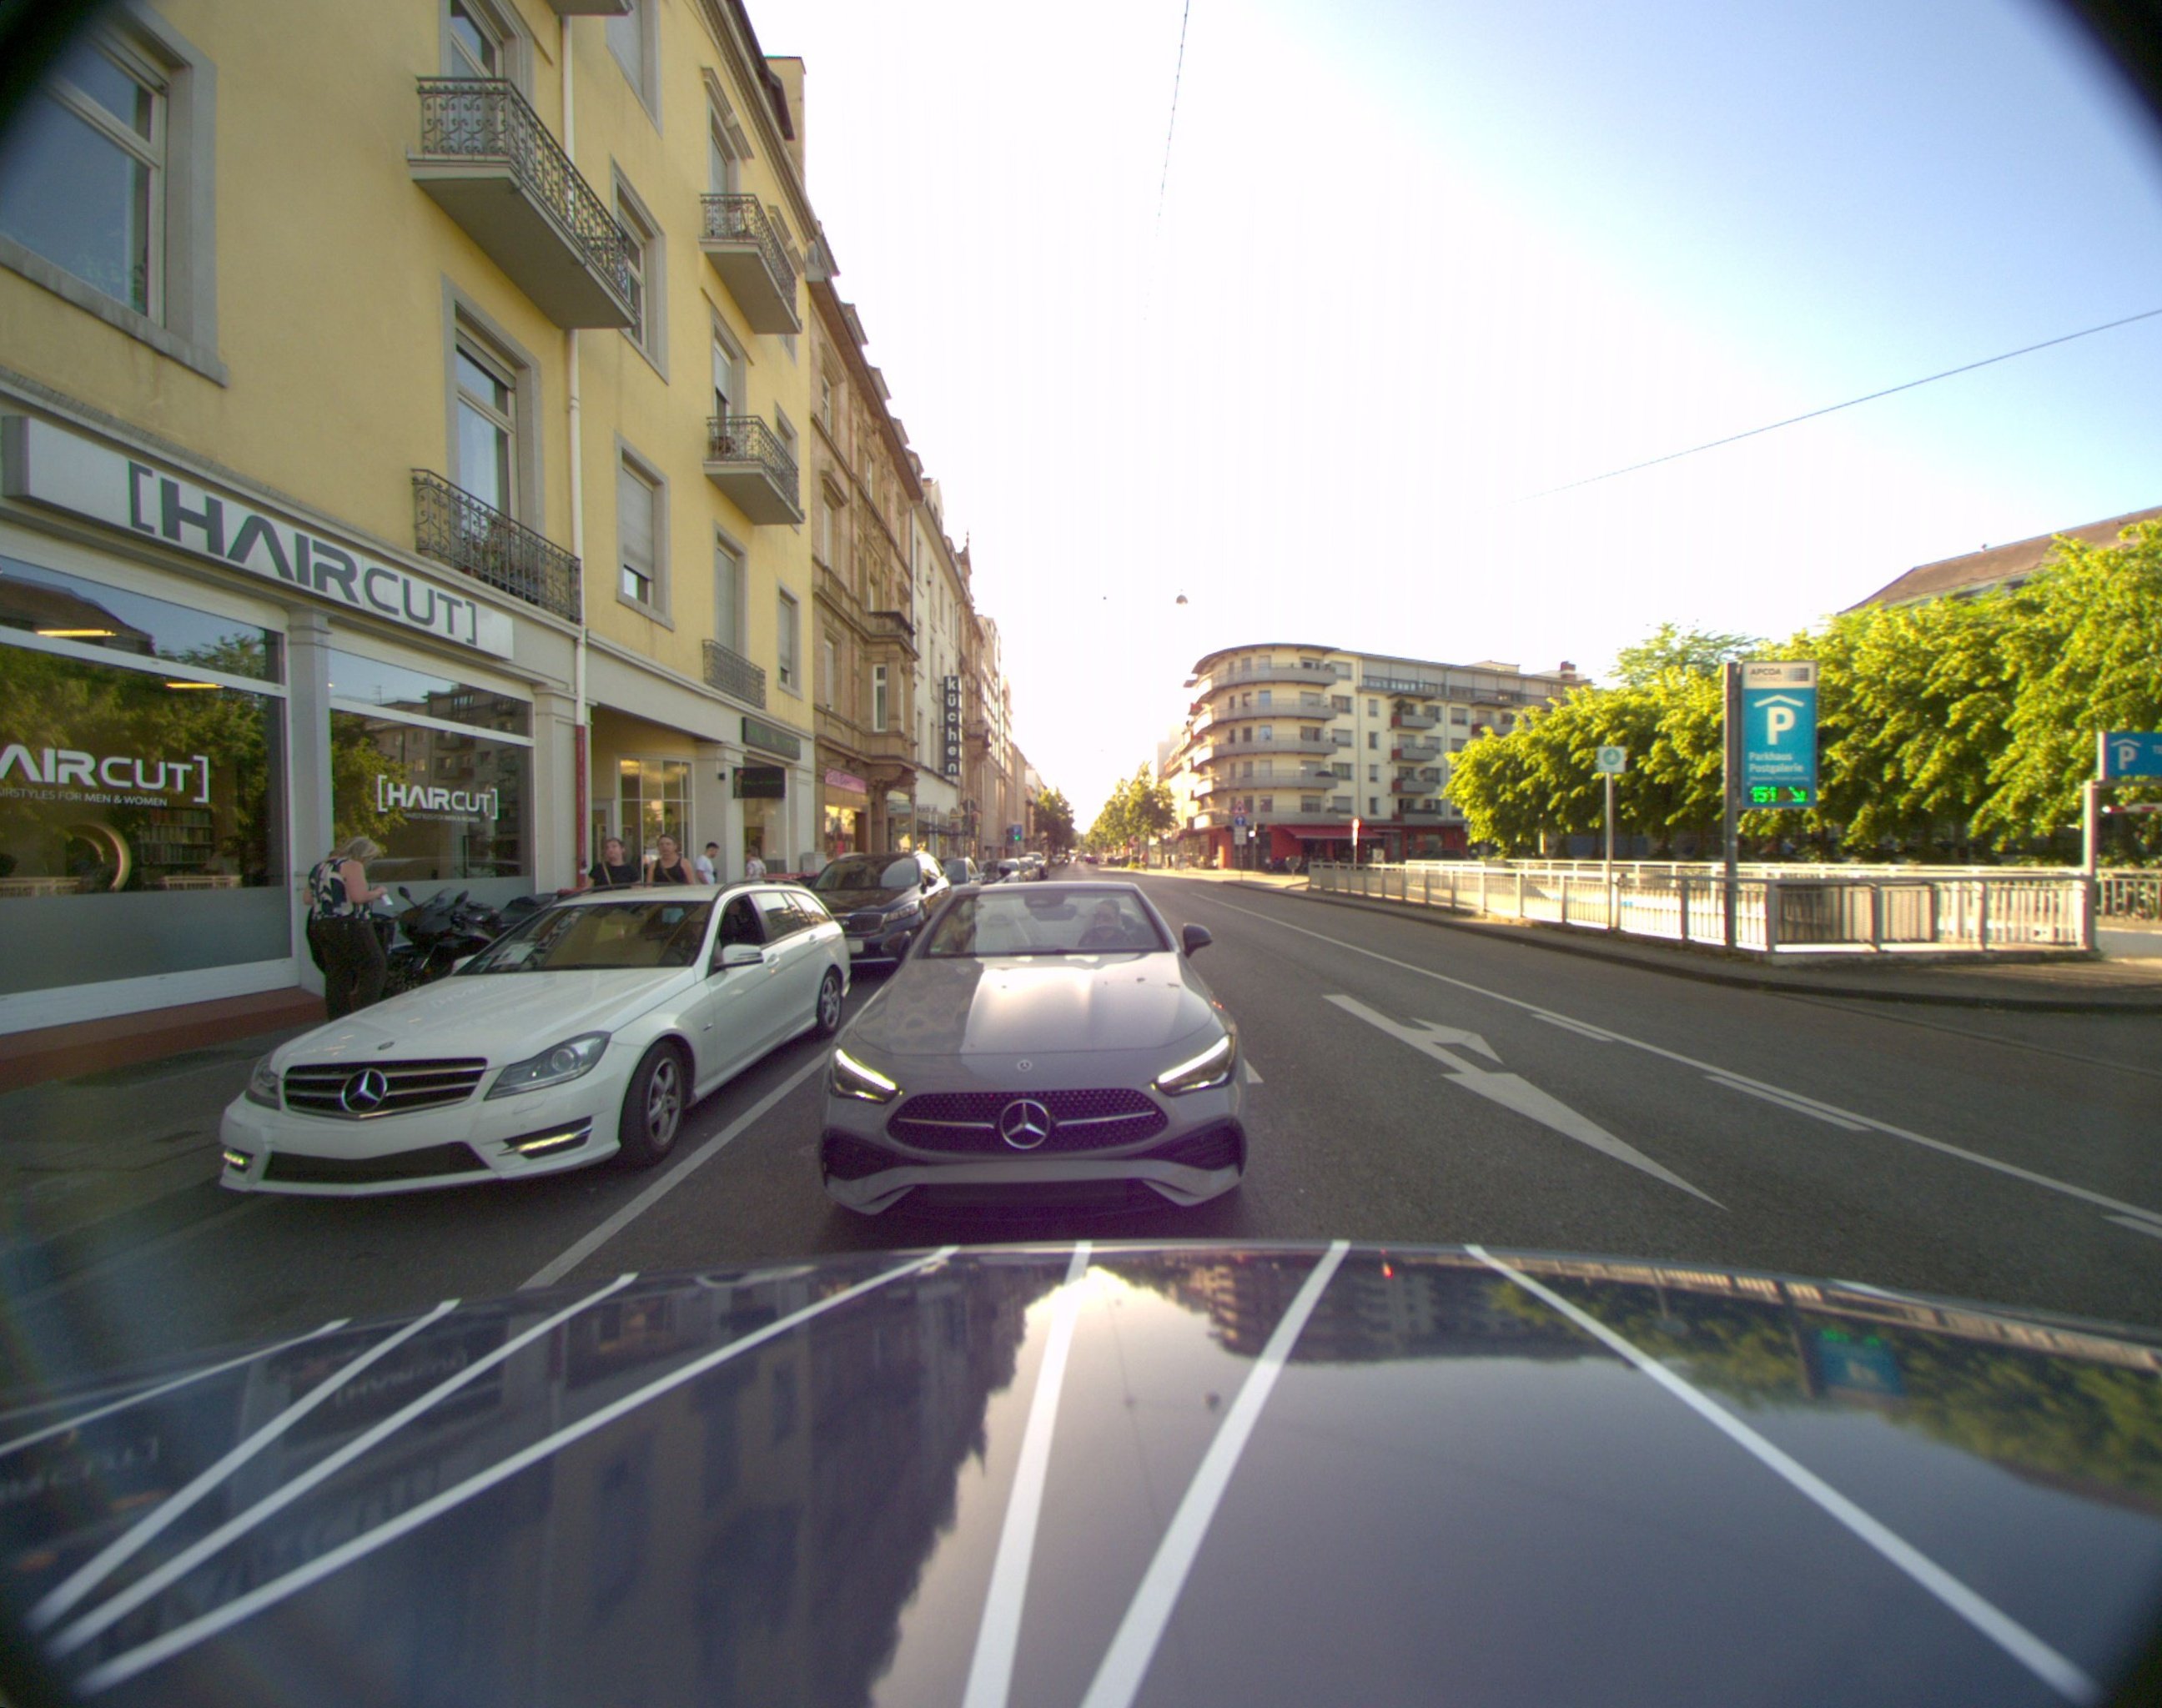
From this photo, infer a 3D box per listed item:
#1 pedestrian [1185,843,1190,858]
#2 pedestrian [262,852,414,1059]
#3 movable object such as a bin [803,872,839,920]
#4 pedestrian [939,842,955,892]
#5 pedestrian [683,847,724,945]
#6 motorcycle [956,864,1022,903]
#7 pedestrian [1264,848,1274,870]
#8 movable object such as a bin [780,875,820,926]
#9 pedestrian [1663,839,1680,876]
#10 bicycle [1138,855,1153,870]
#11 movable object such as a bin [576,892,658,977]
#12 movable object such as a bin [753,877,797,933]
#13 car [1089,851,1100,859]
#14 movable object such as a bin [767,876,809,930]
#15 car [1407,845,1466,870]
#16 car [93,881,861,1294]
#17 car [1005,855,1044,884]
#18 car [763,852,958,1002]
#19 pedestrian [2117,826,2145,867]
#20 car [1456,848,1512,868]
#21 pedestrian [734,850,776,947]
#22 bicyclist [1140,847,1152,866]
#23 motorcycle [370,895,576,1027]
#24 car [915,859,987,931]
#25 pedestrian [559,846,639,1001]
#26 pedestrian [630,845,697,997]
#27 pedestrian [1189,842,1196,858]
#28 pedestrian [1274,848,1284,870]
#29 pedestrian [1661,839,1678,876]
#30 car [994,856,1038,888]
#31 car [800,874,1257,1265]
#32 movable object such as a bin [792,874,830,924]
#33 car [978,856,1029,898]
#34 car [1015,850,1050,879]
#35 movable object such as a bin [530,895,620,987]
[{"bbox_3d":[10.756,-0.396,76.942,0.376,1.521,0.516,-2,1,-3],"label":"pedestrian"},{"bbox_3d":[-6.055,0.797,6.221,0.698,1.623,0.532,0,1,-2],"label":"pedestrian"},{"bbox_3d":[-6.064,0.975,17.751,0.606,1.060,0.619,2,1,0],"label":"movable object such as a bin"},{"bbox_3d":[-4.741,0.455,26.863,0.434,1.752,0.481,-2,1,1],"label":"pedestrian"},{"bbox_3d":[-6.458,0.704,13.012,0.337,1.651,0.525,1,1,20],"label":"pedestrian"},{"bbox_3d":[-3.194,1.001,26.554,2.178,1.272,0.866,-2,1,-42],"label":"motorcycle"},{"bbox_3d":[14.750,0.370,59.666,0.575,1.698,0.642,-1,1,3],"label":"pedestrian"},{"bbox_3d":[-6.080,1.001,16.454,0.606,1.060,0.619,2,1,0],"label":"movable object such as a bin"},{"bbox_3d":[28.690,0.184,36.917,0.602,1.782,0.581,-3,2,-45],"label":"pedestrian"},{"bbox_3d":[5.565,0.731,65.410,0.714,1.205,1.871,-2,0,-13],"label":"bicycle"},{"bbox_3d":[-6.070,1.040,9.964,0.669,1.019,0.619,2,1,3],"label":"movable object such as a bin"},{"bbox_3d":[-6.115,1.016,15.192,0.606,1.060,0.619,2,1,0],"label":"movable object such as a bin"},{"bbox_3d":[2.391,0.212,132.962,1.806,1.388,3.926,-1,0,0],"label":"car"},{"bbox_3d":[-6.092,1.008,15.839,0.606,1.060,0.619,2,1,0],"label":"movable object such as a bin"},{"bbox_3d":[29.274,0.246,62.529,4.432,1.901,1.951,-2,1,-24],"label":"car"},{"bbox_3d":[-3.065,1.019,5.284,1.743,1.438,4.463,-1,0,0],"label":"car"},{"bbox_3d":[-3.002,0.807,41.092,1.737,1.409,3.802,-1,0,0],"label":"car"},{"bbox_3d":[-2.983,0.858,11.340,1.760,1.726,4.571,-1,0,-3],"label":"car"},{"bbox_3d":[45.624,-0.327,33.022,0.602,1.782,0.581,-2,1,-20],"label":"pedestrian"},{"bbox_3d":[34.274,0.325,64.674,4.300,1.611,1.951,-2,1,-24],"label":"car"},{"bbox_3d":[-5.684,0.749,13.236,0.594,1.651,0.450,0,1,-34],"label":"pedestrian"},{"bbox_3d":[5.563,0.191,65.382,0.714,1.605,0.975,-2,1,-13],"label":"bicyclist"},{"bbox_3d":[-6.213,1.030,7.931,0.551,1.085,2.009,0,0,-1],"label":"motorcycle"},{"bbox_3d":[-2.995,0.893,17.912,1.275,1.509,2.794,-1,0,-2],"label":"car"},{"bbox_3d":[-5.288,0.738,8.361,0.619,1.623,0.462,-2,1,-21],"label":"pedestrian"},{"bbox_3d":[-4.605,0.715,8.404,0.515,1.623,0.414,-2,1,-14],"label":"pedestrian"},{"bbox_3d":[11.303,-0.437,76.989,0.570,1.612,0.793,-2,1,-3],"label":"pedestrian"},{"bbox_3d":[15.508,0.357,59.445,0.575,1.698,0.642,-1,1,3],"label":"pedestrian"},{"bbox_3d":[29.084,0.164,37.568,0.602,1.782,0.581,-3,2,-45],"label":"pedestrian"},{"bbox_3d":[-3.079,0.841,36.771,1.737,1.409,3.802,-1,0,0],"label":"car"},{"bbox_3d":[-0.206,0.950,5.323,1.848,1.440,4.373,-1,0,0],"label":"car"},{"bbox_3d":[-6.069,1.006,17.087,0.606,1.060,0.619,2,1,0],"label":"movable object such as a bin"},{"bbox_3d":[-3.050,0.857,30.689,1.737,1.509,4.164,-1,0,-2],"label":"car"},{"bbox_3d":[-3.008,0.631,47.722,1.895,1.680,4.049,-1,0,0],"label":"car"},{"bbox_3d":[-6.170,1.043,9.291,0.661,1.035,0.619,2,1,3],"label":"movable object such as a bin"}]
